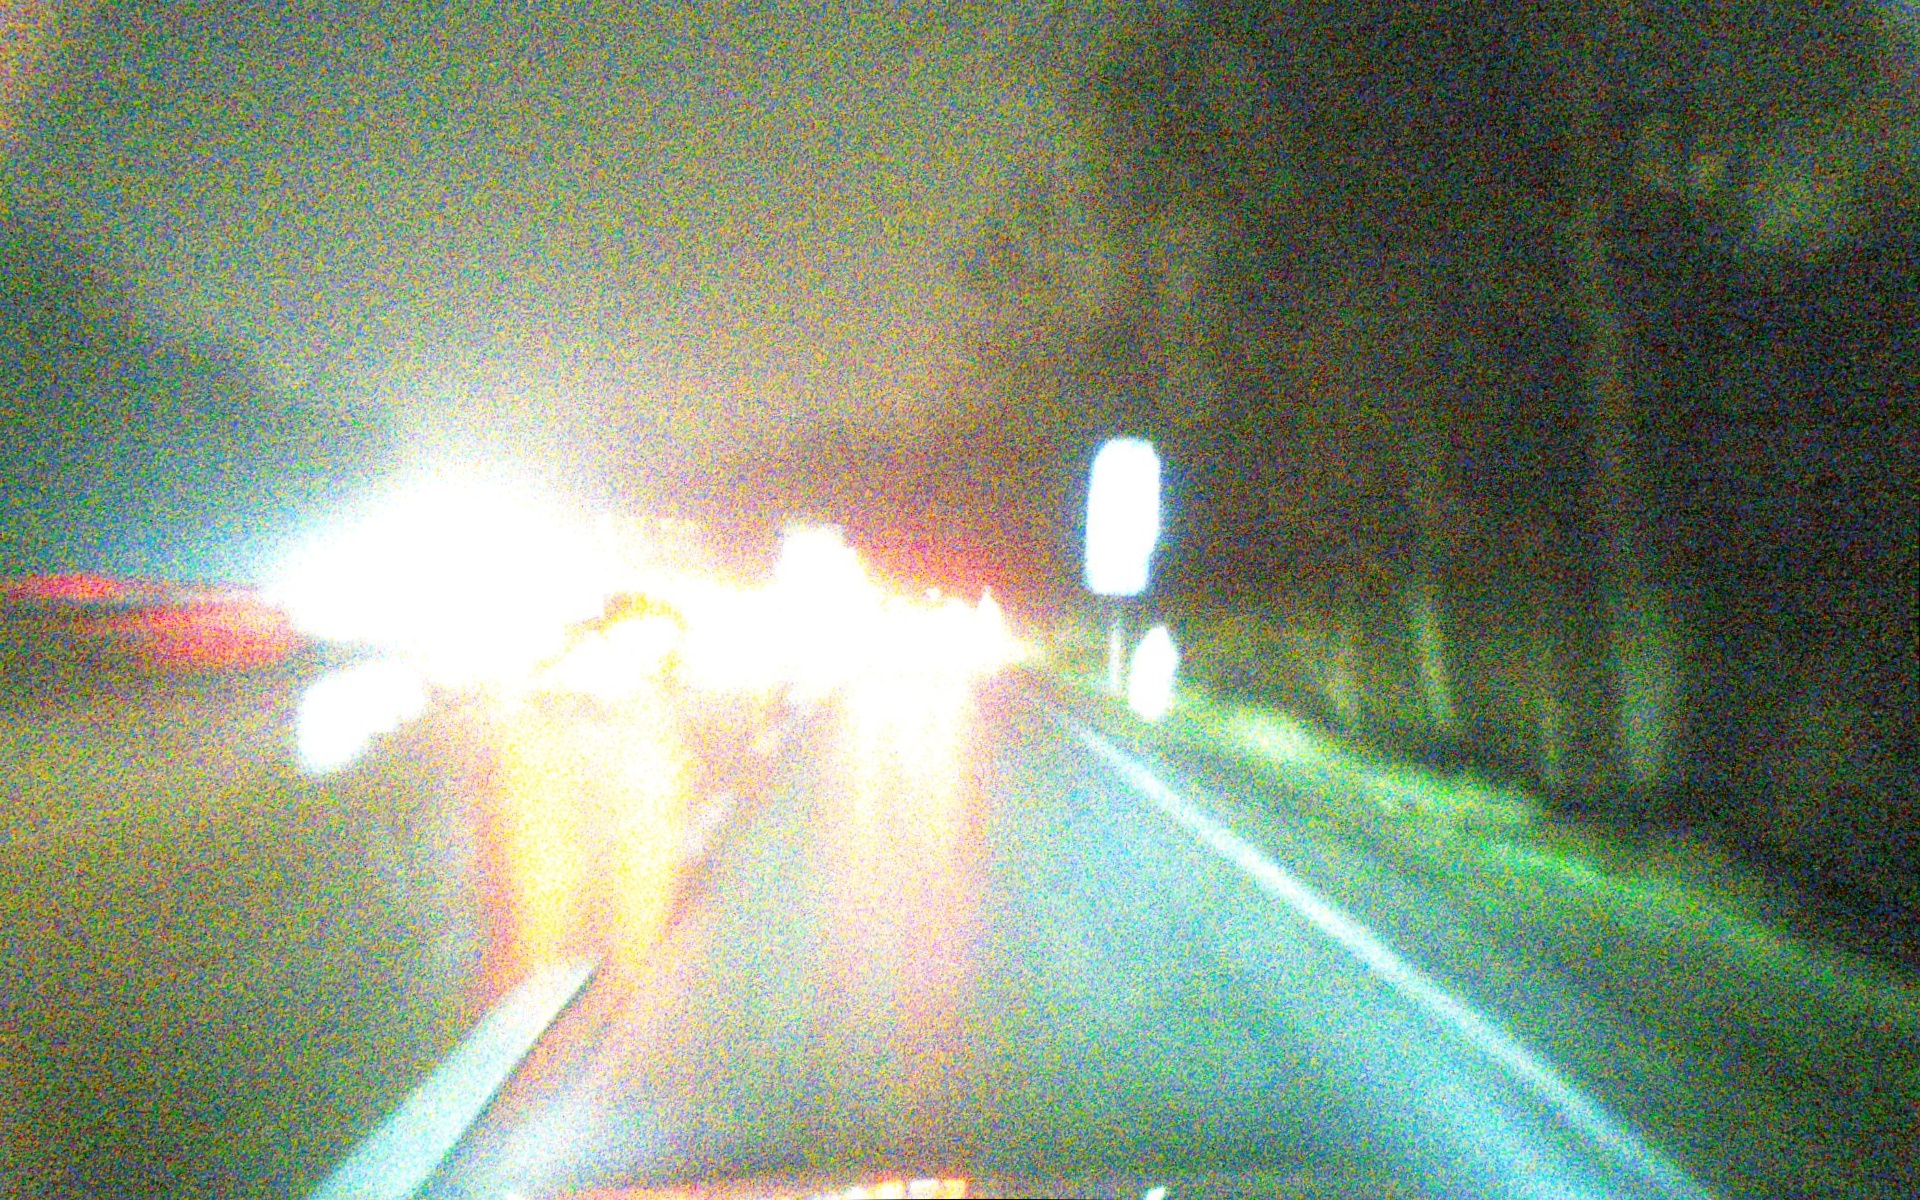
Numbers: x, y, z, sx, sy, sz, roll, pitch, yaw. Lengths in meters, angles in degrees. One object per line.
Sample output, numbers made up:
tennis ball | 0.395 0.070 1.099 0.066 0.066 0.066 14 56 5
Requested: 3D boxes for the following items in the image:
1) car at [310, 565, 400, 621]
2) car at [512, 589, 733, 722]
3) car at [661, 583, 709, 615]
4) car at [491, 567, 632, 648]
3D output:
car | -23.282 -0.249 63.799 1.954 2.049 4.806 1 0 -4
car | -4.031 0.632 20.432 1.922 1.404 4.048 2 0 -1
car | -14.227 -0.042 85.721 1.854 1.577 3.999 1 0 -1
car | -8.220 0.135 34.578 1.731 1.543 4.914 1 0 0
